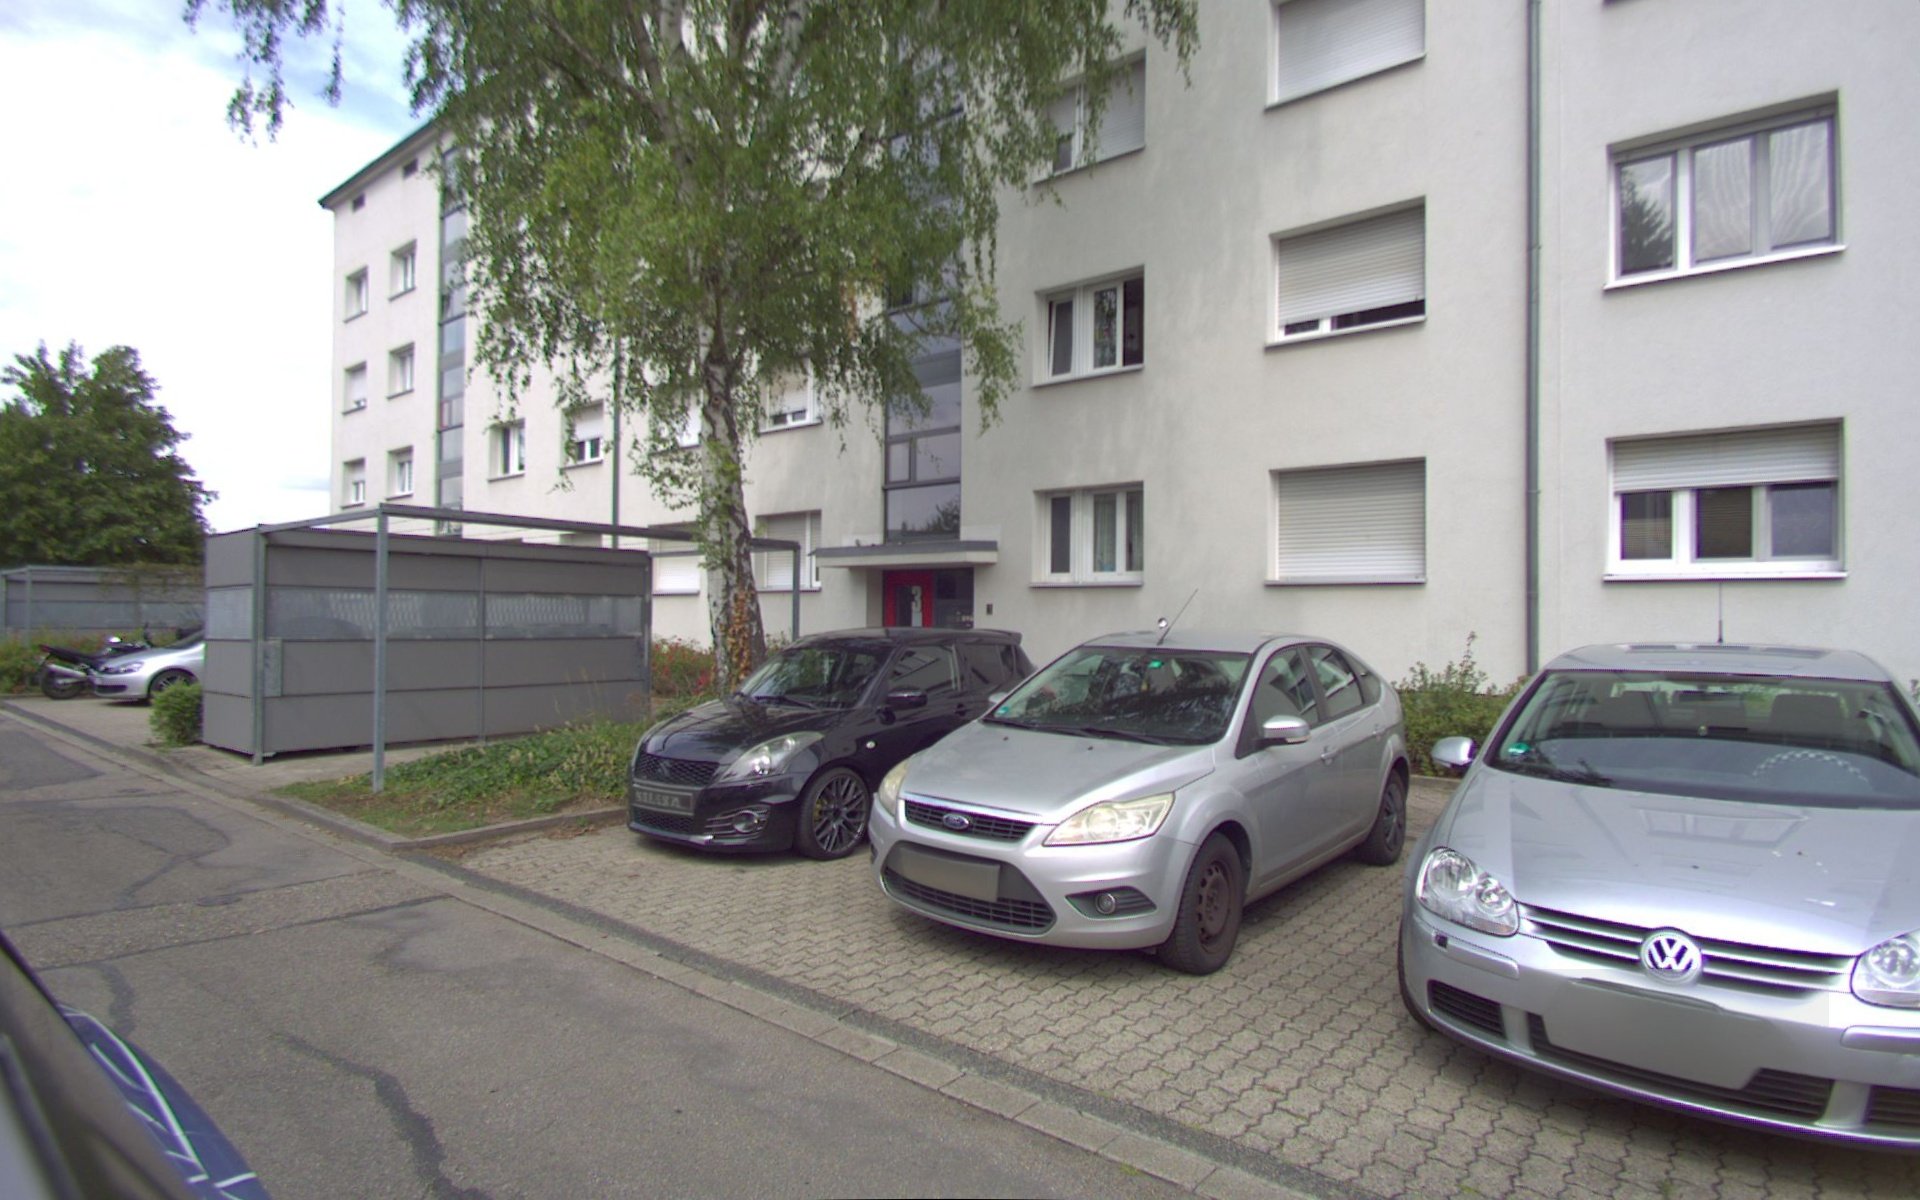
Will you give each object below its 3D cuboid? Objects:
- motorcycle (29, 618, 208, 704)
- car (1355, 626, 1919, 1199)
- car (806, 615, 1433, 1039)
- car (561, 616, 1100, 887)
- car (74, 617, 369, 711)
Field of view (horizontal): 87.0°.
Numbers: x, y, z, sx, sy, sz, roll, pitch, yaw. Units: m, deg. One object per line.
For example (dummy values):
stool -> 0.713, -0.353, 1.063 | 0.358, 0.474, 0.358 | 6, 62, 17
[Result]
motorcycle -> -15.303, 1.118, 18.484 | 0.713, 1.475, 2.353 | -1, -4, 39
car -> 3.183, 0.883, 4.172 | 1.780, 1.475, 4.011 | -1, -2, 39
car -> 1.227, 0.894, 5.784 | 1.780, 1.516, 4.011 | -1, -2, 39
car -> -0.731, 0.930, 7.830 | 1.780, 1.516, 4.011 | -1, -2, 39
car -> -13.257, 1.150, 18.352 | 1.901, 1.497, 3.945 | -1, -4, 41
